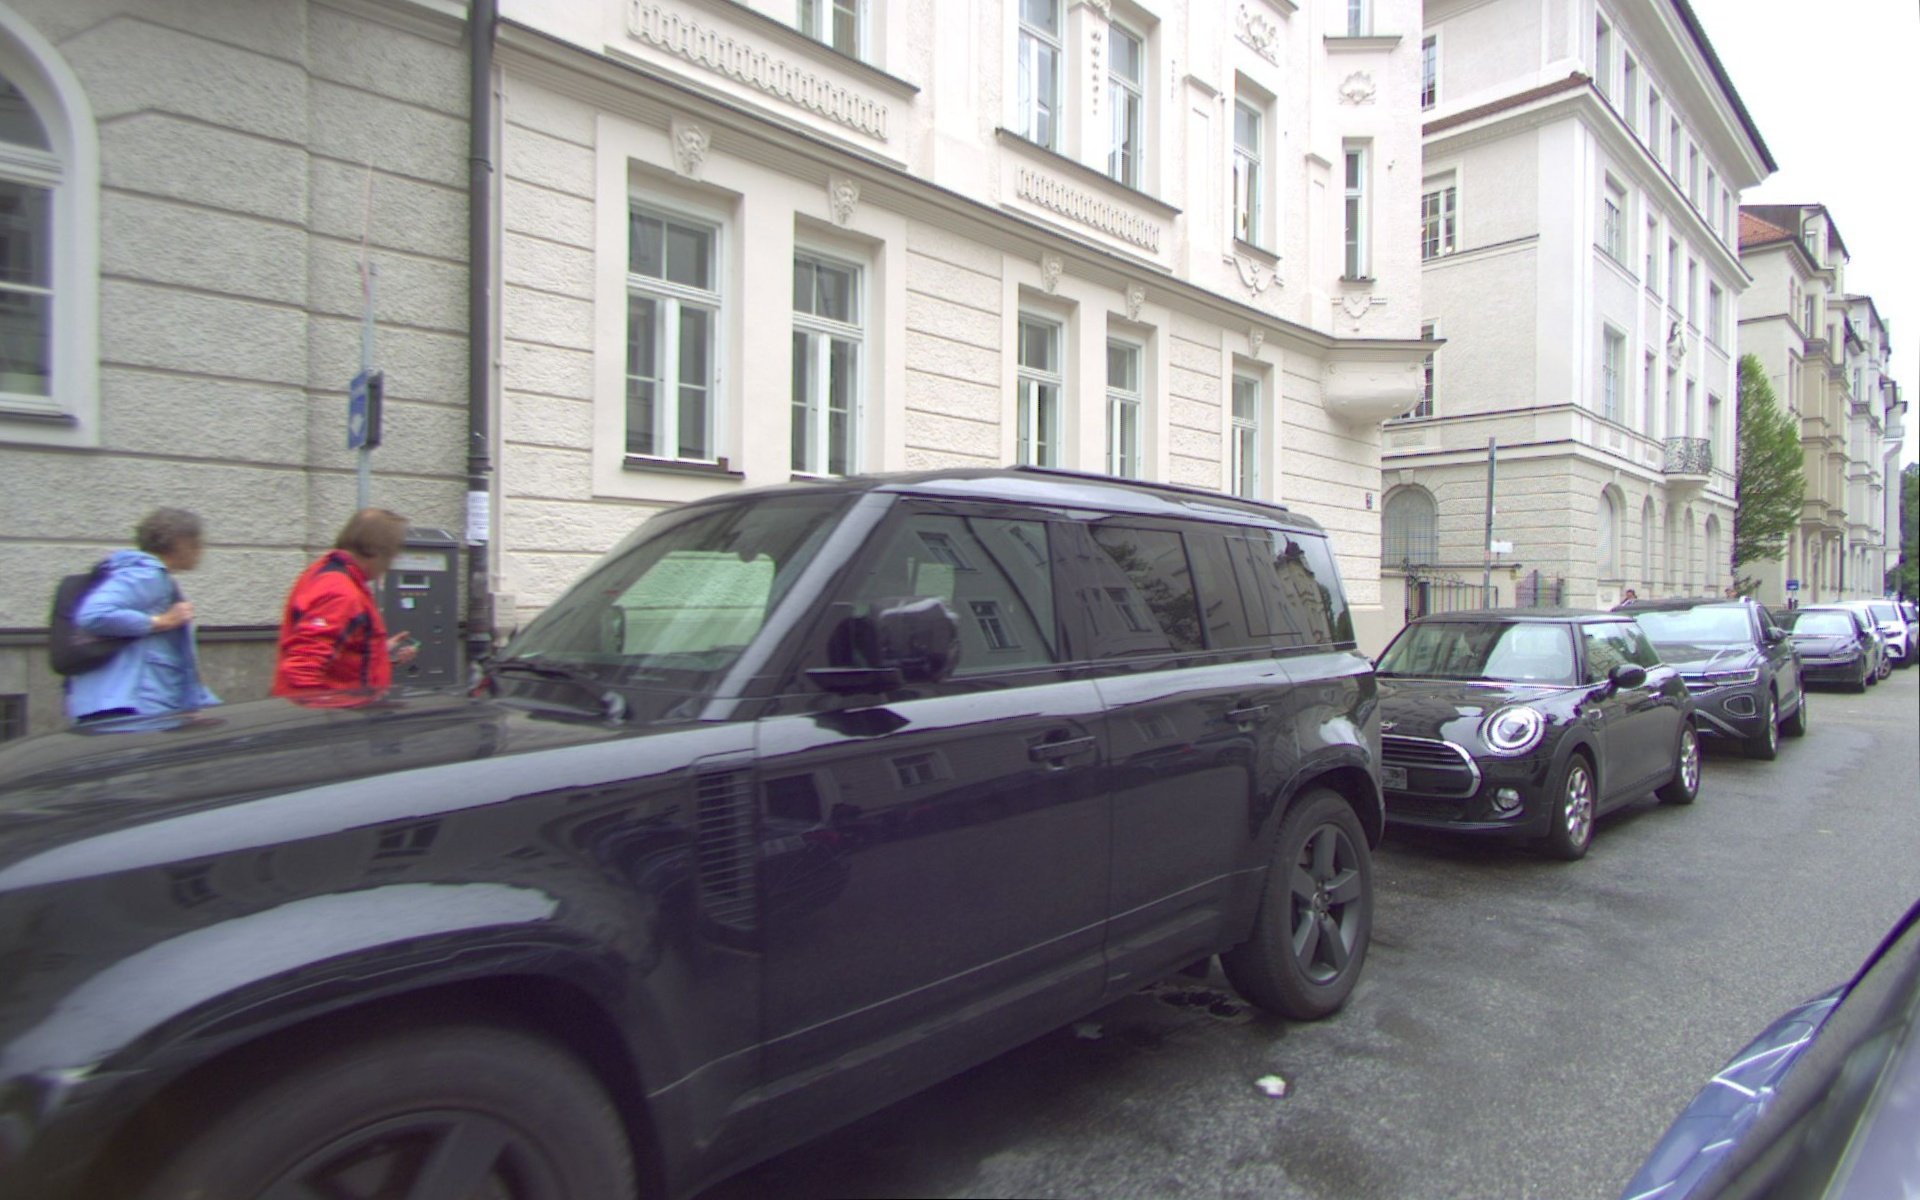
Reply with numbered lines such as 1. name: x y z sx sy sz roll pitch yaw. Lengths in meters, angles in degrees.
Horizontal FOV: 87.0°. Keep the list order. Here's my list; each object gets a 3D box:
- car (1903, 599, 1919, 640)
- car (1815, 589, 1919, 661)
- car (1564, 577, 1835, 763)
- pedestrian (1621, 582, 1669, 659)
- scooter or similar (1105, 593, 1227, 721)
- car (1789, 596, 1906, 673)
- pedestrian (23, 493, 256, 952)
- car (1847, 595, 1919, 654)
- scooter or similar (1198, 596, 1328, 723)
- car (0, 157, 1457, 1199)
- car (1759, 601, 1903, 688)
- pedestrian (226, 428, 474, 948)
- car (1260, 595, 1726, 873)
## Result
1. car: 37.905 0.759 39.400 1.663 1.527 3.999 -1 -1 44
2. car: 22.920 0.594 25.246 4.315 1.657 1.898 1 -1 -42
3. car: 7.976 0.631 10.779 3.935 1.608 1.708 0 -2 -45
4. pedestrian: 15.628 0.466 23.089 0.798 1.700 0.683 1 1 -44
5. scooter or similar: 2.267 0.590 11.091 1.325 1.303 0.508 0 2 -35
6. car: 19.466 0.689 22.141 1.708 1.520 3.936 -1 0 44
7. pedestrian: -3.403 0.439 4.198 0.679 1.695 0.644 3 2 42
8. car: 26.521 0.648 28.633 4.099 1.544 1.750 0 0 -43
9. scooter or similar: 3.344 0.614 11.129 1.475 1.303 0.542 0 2 -35
10. car: -0.417 0.464 3.098 4.634 1.909 1.912 0 -2 -43
11. car: 16.033 0.751 18.570 3.933 1.413 1.613 0 -1 -44
12. pedestrian: -2.355 0.289 3.901 0.691 1.750 0.704 0 1 -42
13. car: 3.801 0.705 6.996 3.519 1.413 1.666 0 -1 -41
